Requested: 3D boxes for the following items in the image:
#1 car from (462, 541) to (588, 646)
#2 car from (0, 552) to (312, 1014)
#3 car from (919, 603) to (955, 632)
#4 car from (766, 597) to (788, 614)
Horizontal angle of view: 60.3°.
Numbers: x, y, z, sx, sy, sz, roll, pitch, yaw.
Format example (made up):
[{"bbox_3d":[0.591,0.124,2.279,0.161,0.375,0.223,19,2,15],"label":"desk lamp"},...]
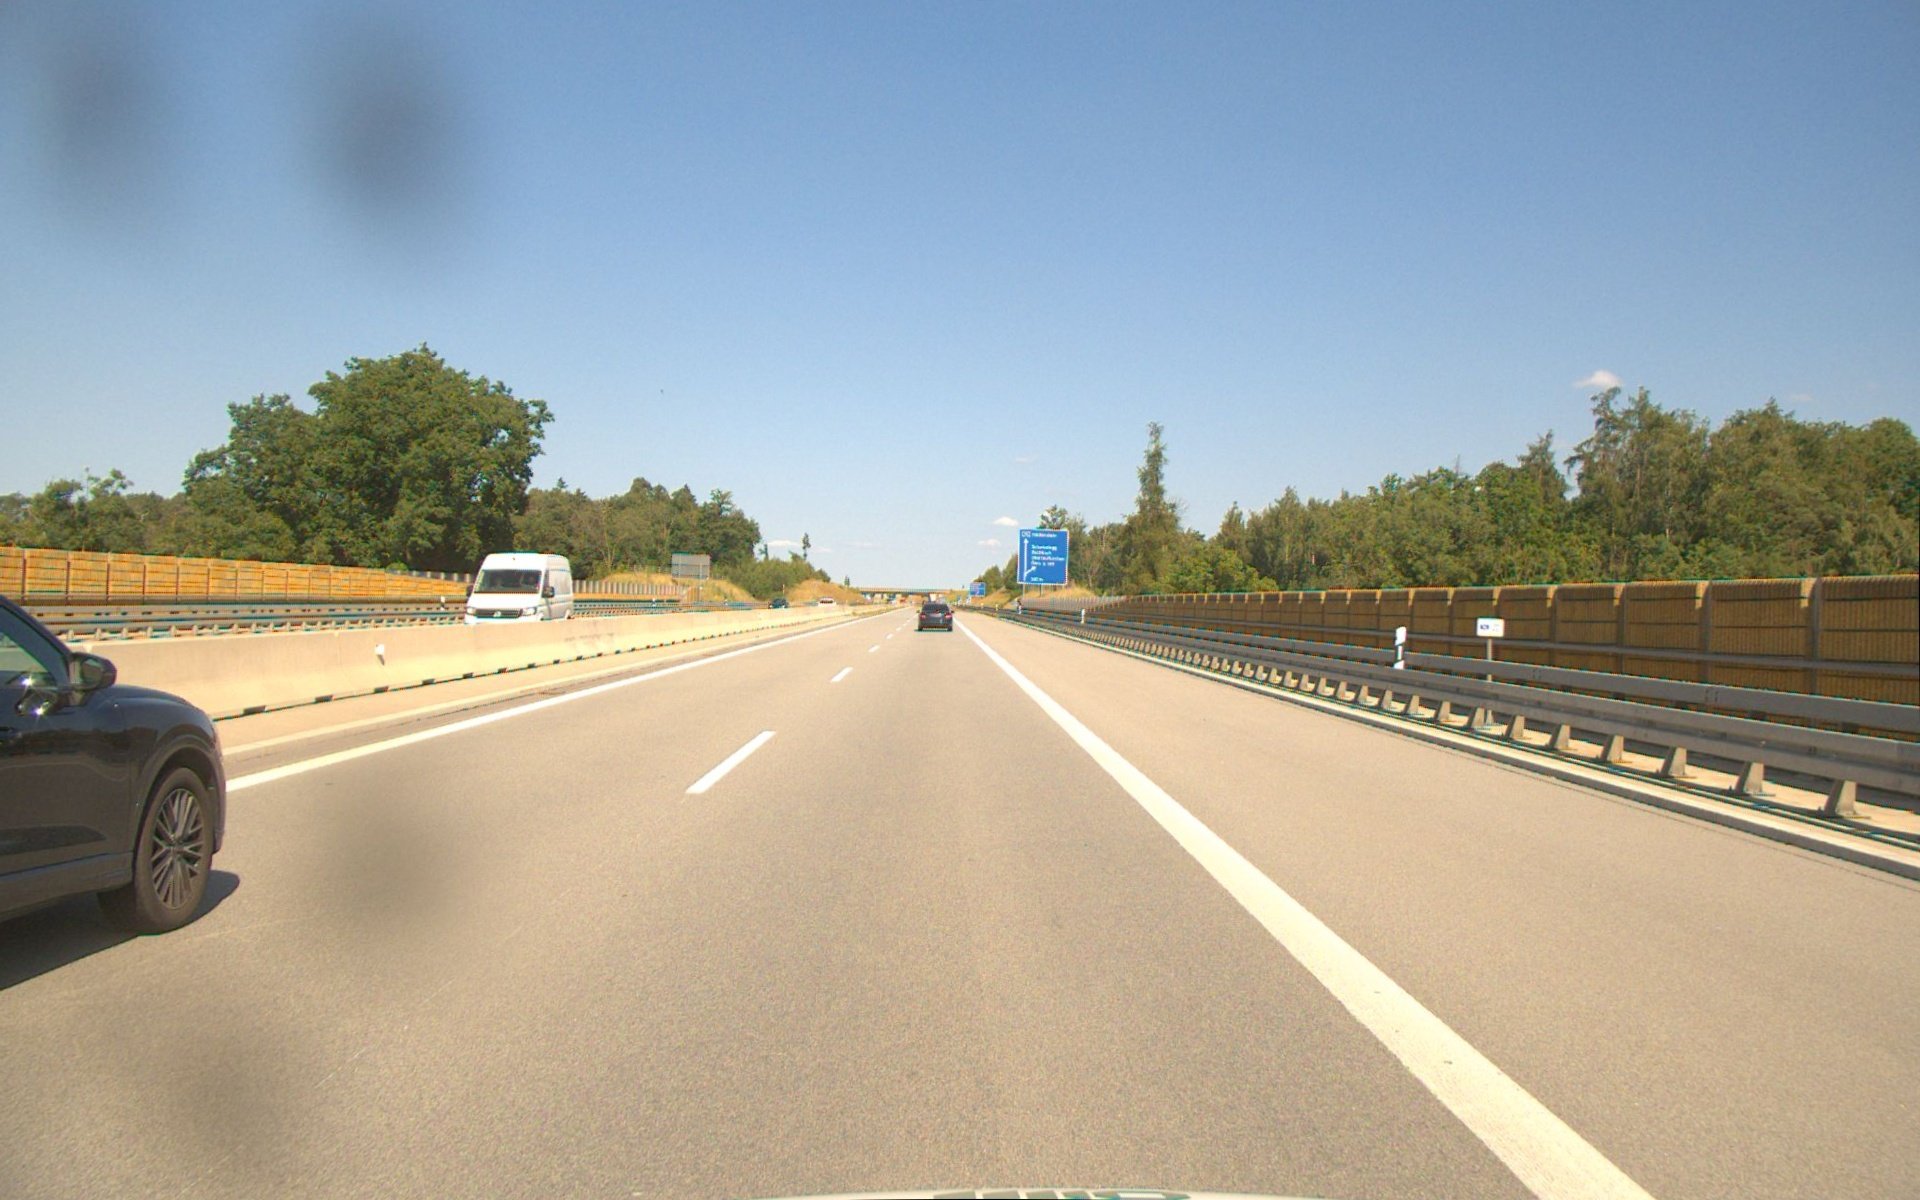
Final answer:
[{"bbox_3d":[-12.193,-0.176,46.823,1.982,2.717,6.484,1,0,-2],"label":"car"},{"bbox_3d":[-4.191,0.626,5.949,1.687,1.615,5.221,1,0,-1],"label":"car"},{"bbox_3d":[-1.158,0.880,83.861,1.753,1.398,3.916,1,0,-1],"label":"car"},{"bbox_3d":[-16.515,0.523,149.324,1.547,1.483,4.448,1,0,-1],"label":"car"}]
